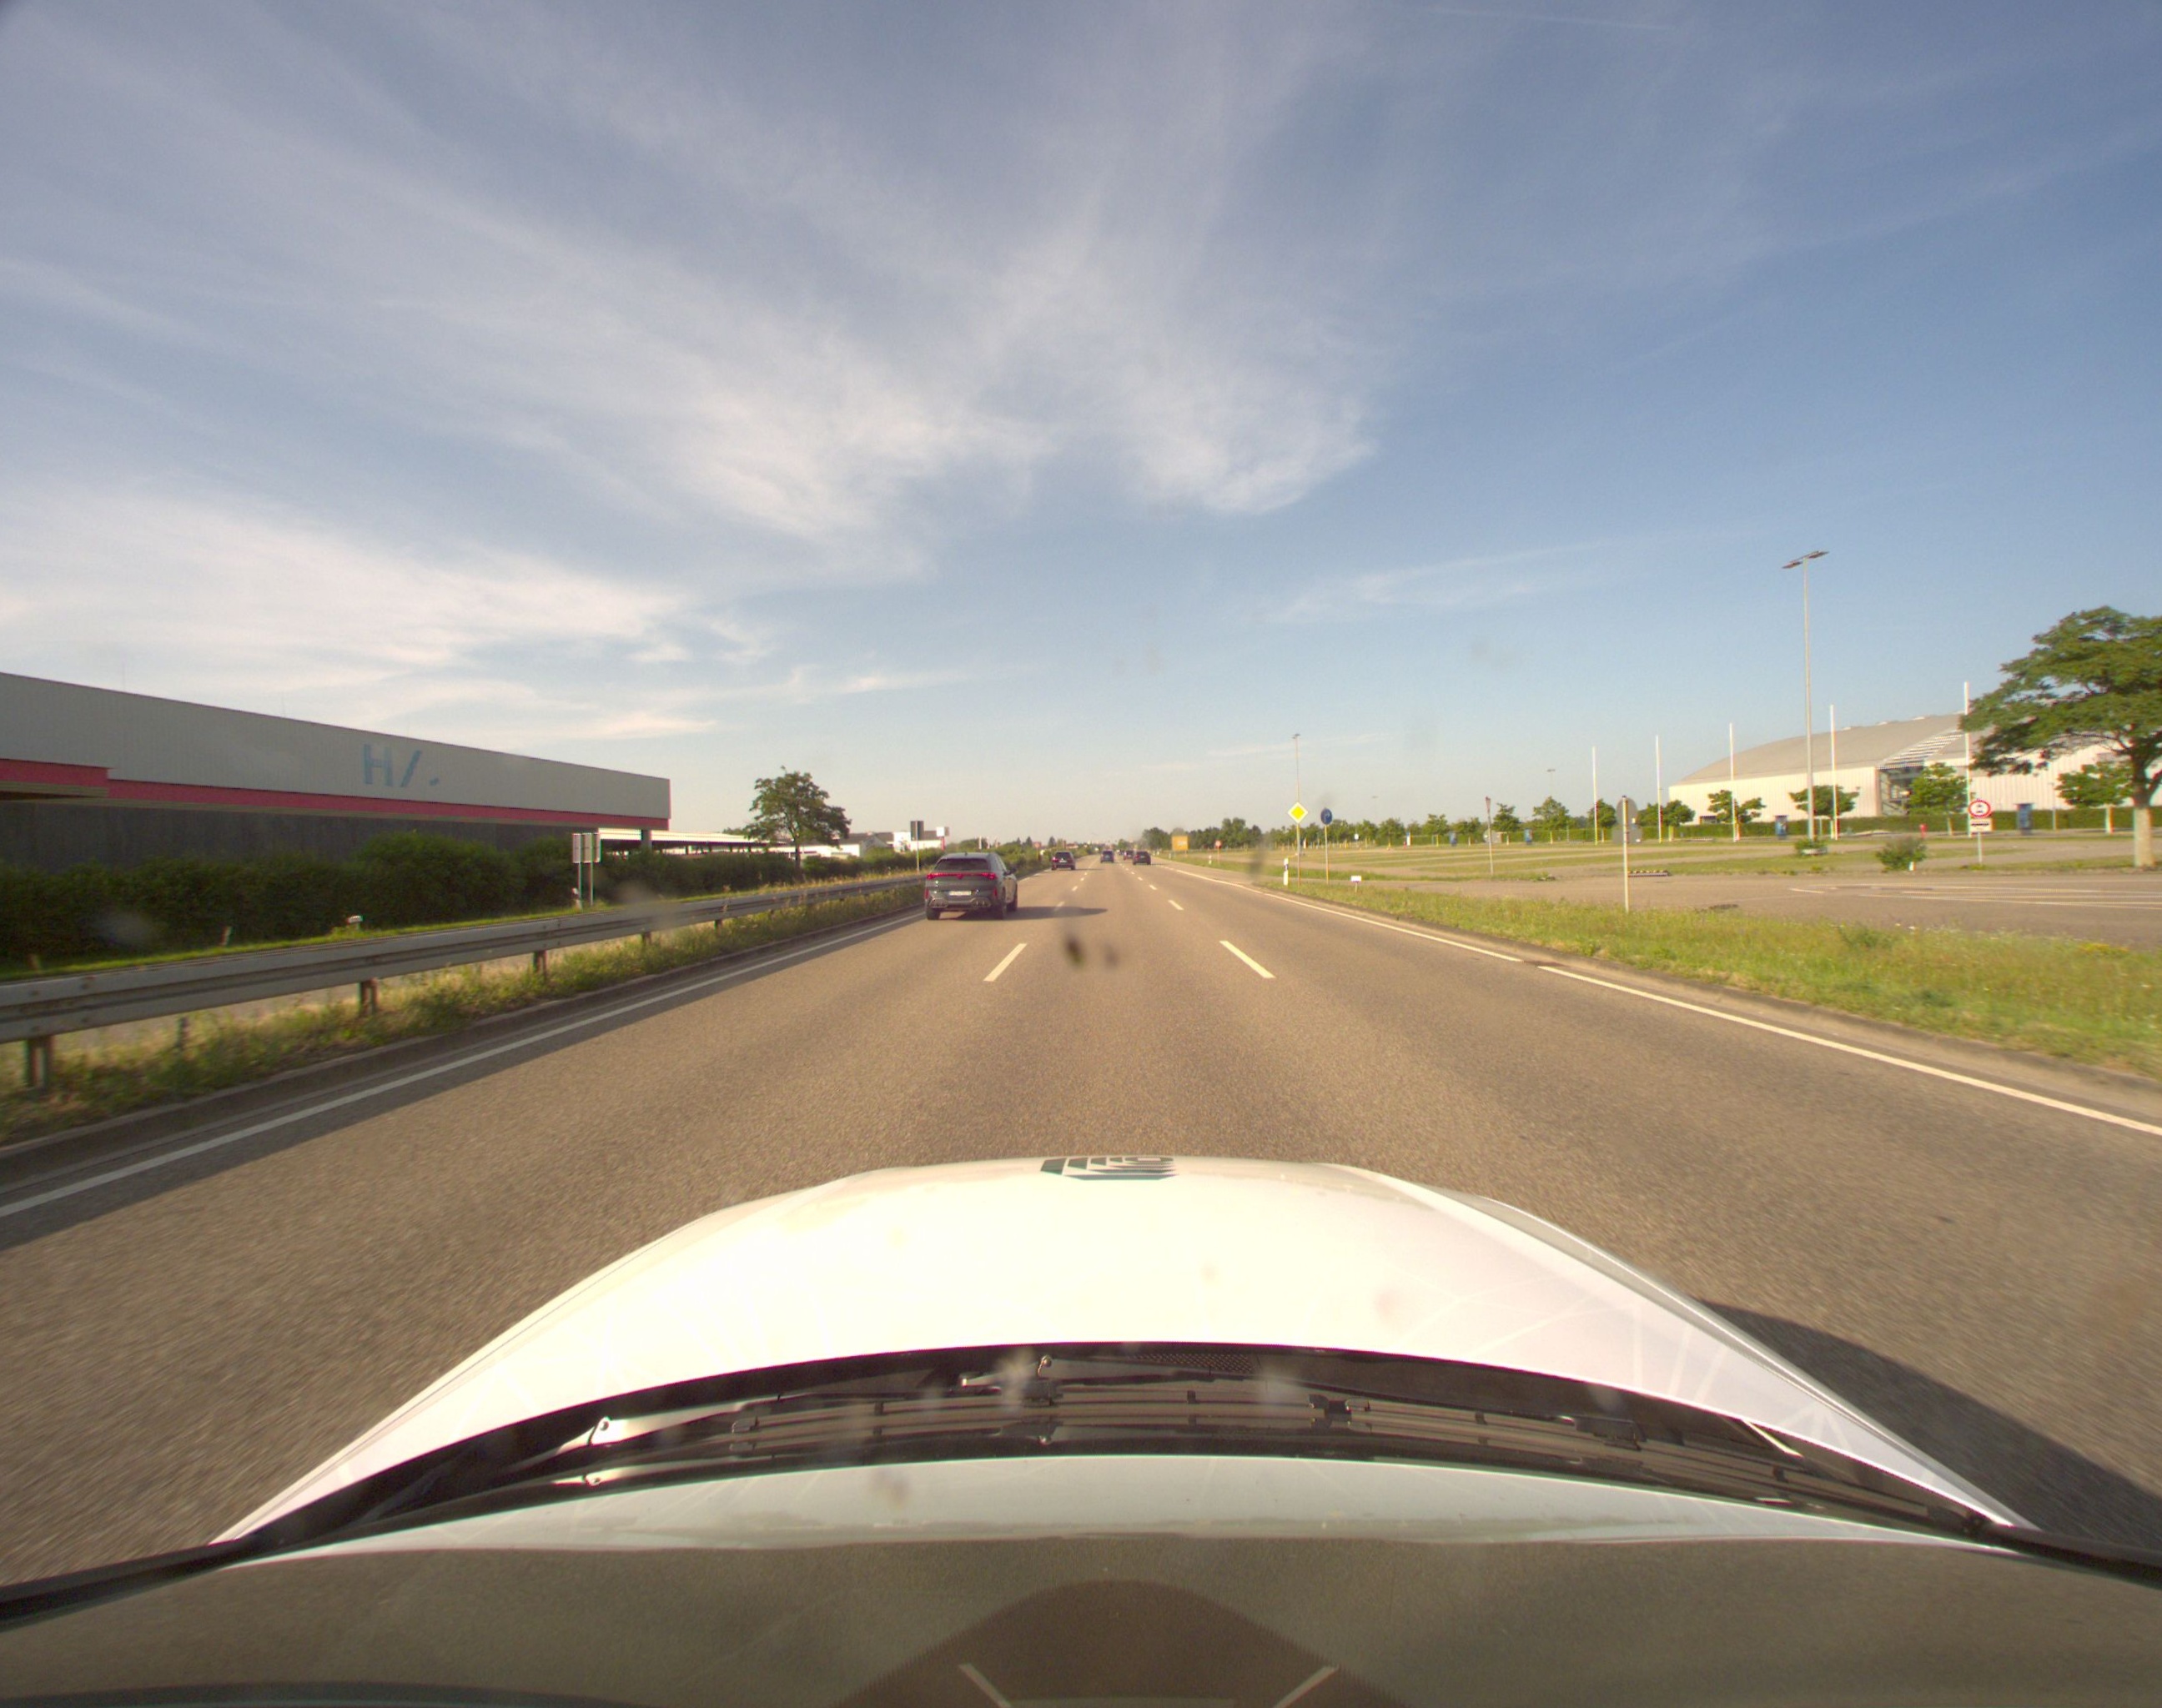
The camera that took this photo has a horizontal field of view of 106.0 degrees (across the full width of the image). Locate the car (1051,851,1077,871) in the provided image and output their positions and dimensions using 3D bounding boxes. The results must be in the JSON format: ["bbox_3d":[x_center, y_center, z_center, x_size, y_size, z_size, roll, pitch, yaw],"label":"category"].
[{"bbox_3d":[-1.449,0.579,71.136,1.925,1.680,4.403,0,0,2],"label":"car"}]

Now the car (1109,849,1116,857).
[{"bbox_3d":[7.369,-0.276,191.079,1.639,1.728,3.402,-1,-1,2],"label":"car"}]

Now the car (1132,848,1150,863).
[{"bbox_3d":[6.861,0.165,92.988,1.925,1.680,4.403,0,0,2],"label":"car"}]

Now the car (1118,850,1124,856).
[{"bbox_3d":[10.127,-0.263,204.239,1.497,1.313,3.158,0,0,2],"label":"car"}]

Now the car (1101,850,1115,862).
[{"bbox_3d":[3.573,0.249,108.155,1.805,1.463,4.403,0,0,2],"label":"car"}]

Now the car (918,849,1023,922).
[{"bbox_3d":[-2.640,0.696,20.443,1.838,1.611,4.403,0,0,2],"label":"car"}]

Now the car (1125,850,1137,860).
[{"bbox_3d":[8.092,0.159,131.181,1.866,1.463,3.983,0,0,2],"label":"car"}]
